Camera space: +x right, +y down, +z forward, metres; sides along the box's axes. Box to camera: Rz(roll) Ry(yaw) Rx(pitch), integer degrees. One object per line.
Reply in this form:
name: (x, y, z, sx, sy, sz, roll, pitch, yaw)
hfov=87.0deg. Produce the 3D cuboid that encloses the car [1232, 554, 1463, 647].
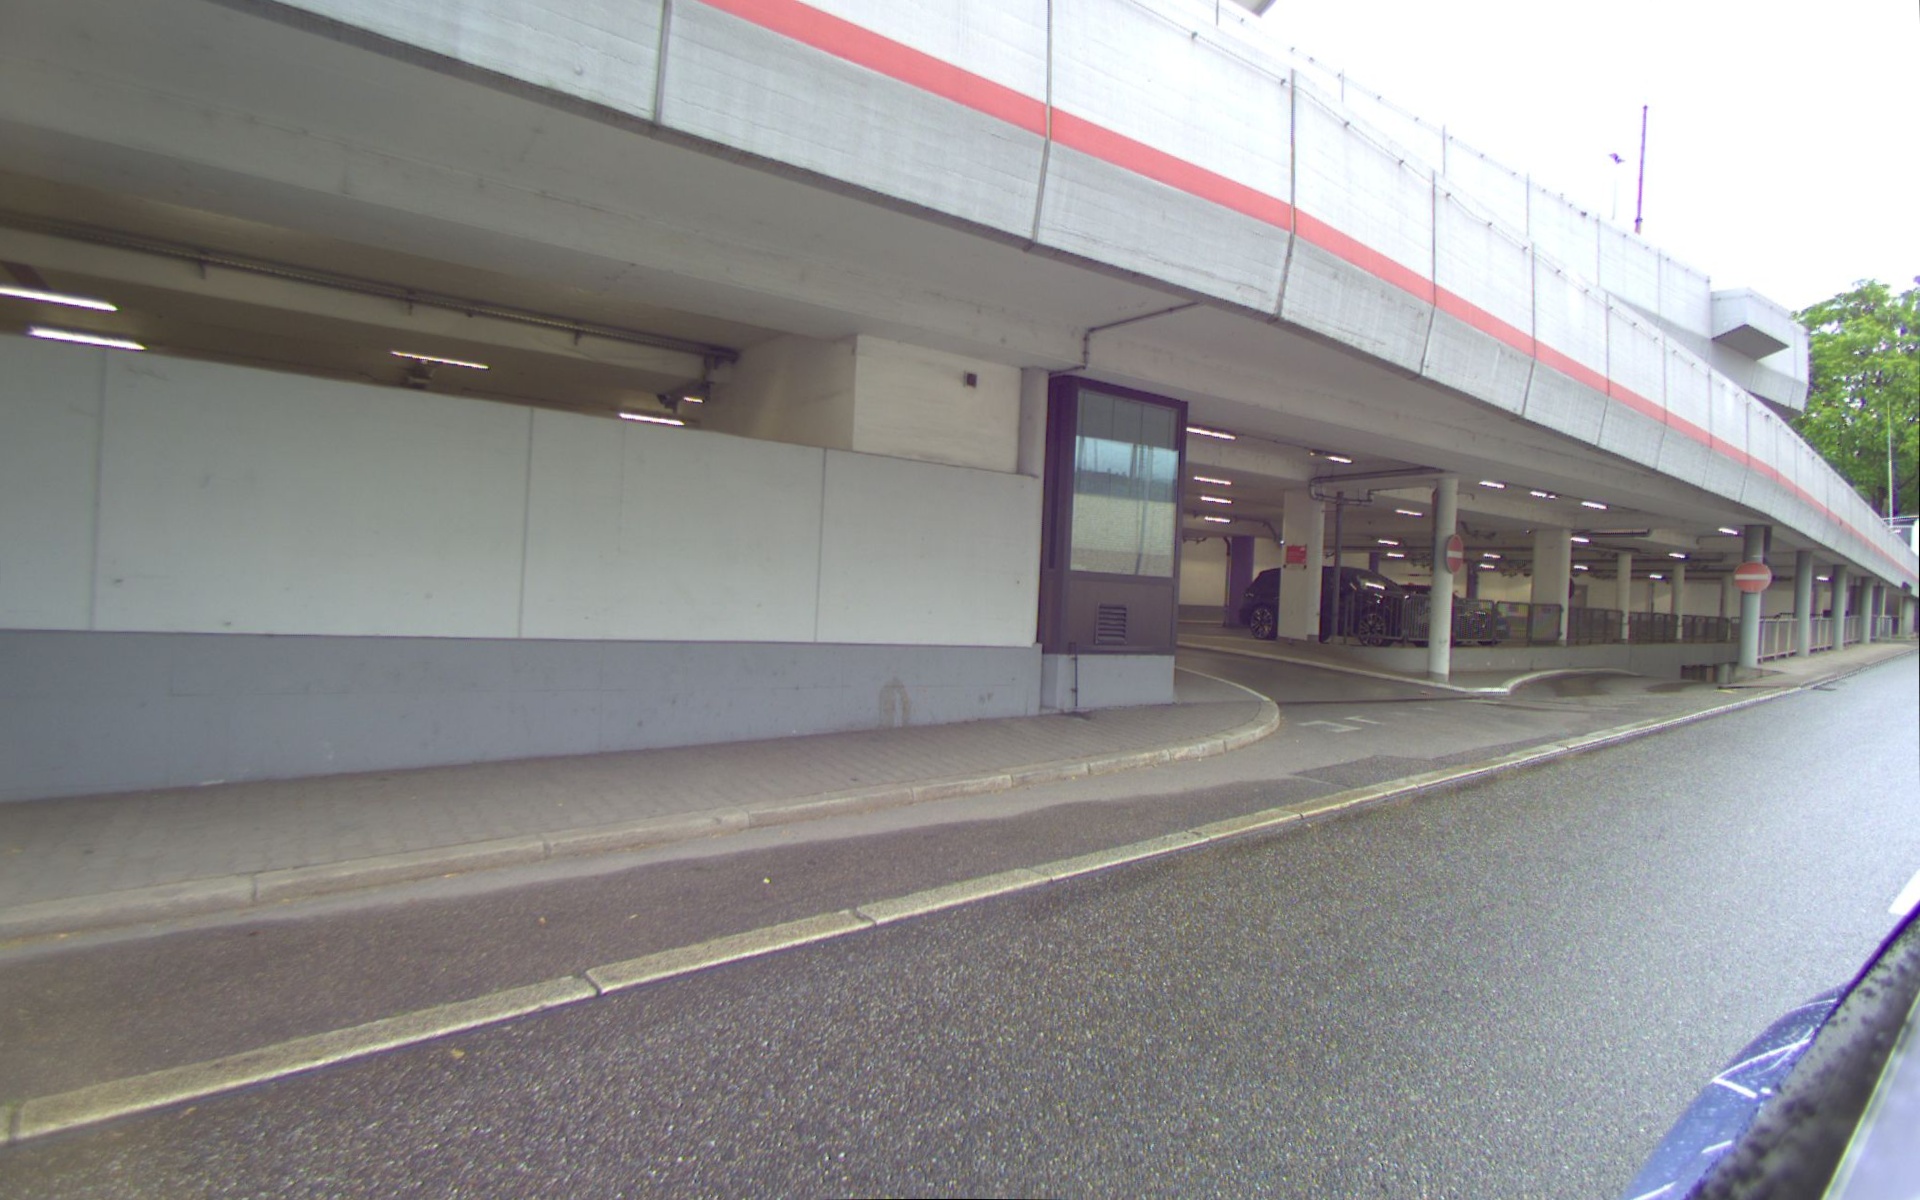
car: (8.169, -0.016, 21.724, 1.960, 1.682, 4.261, 5, -2, -31)

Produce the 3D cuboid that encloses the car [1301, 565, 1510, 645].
car: (10.768, 0.092, 24.765, 1.960, 1.682, 4.261, 5, -2, -31)
